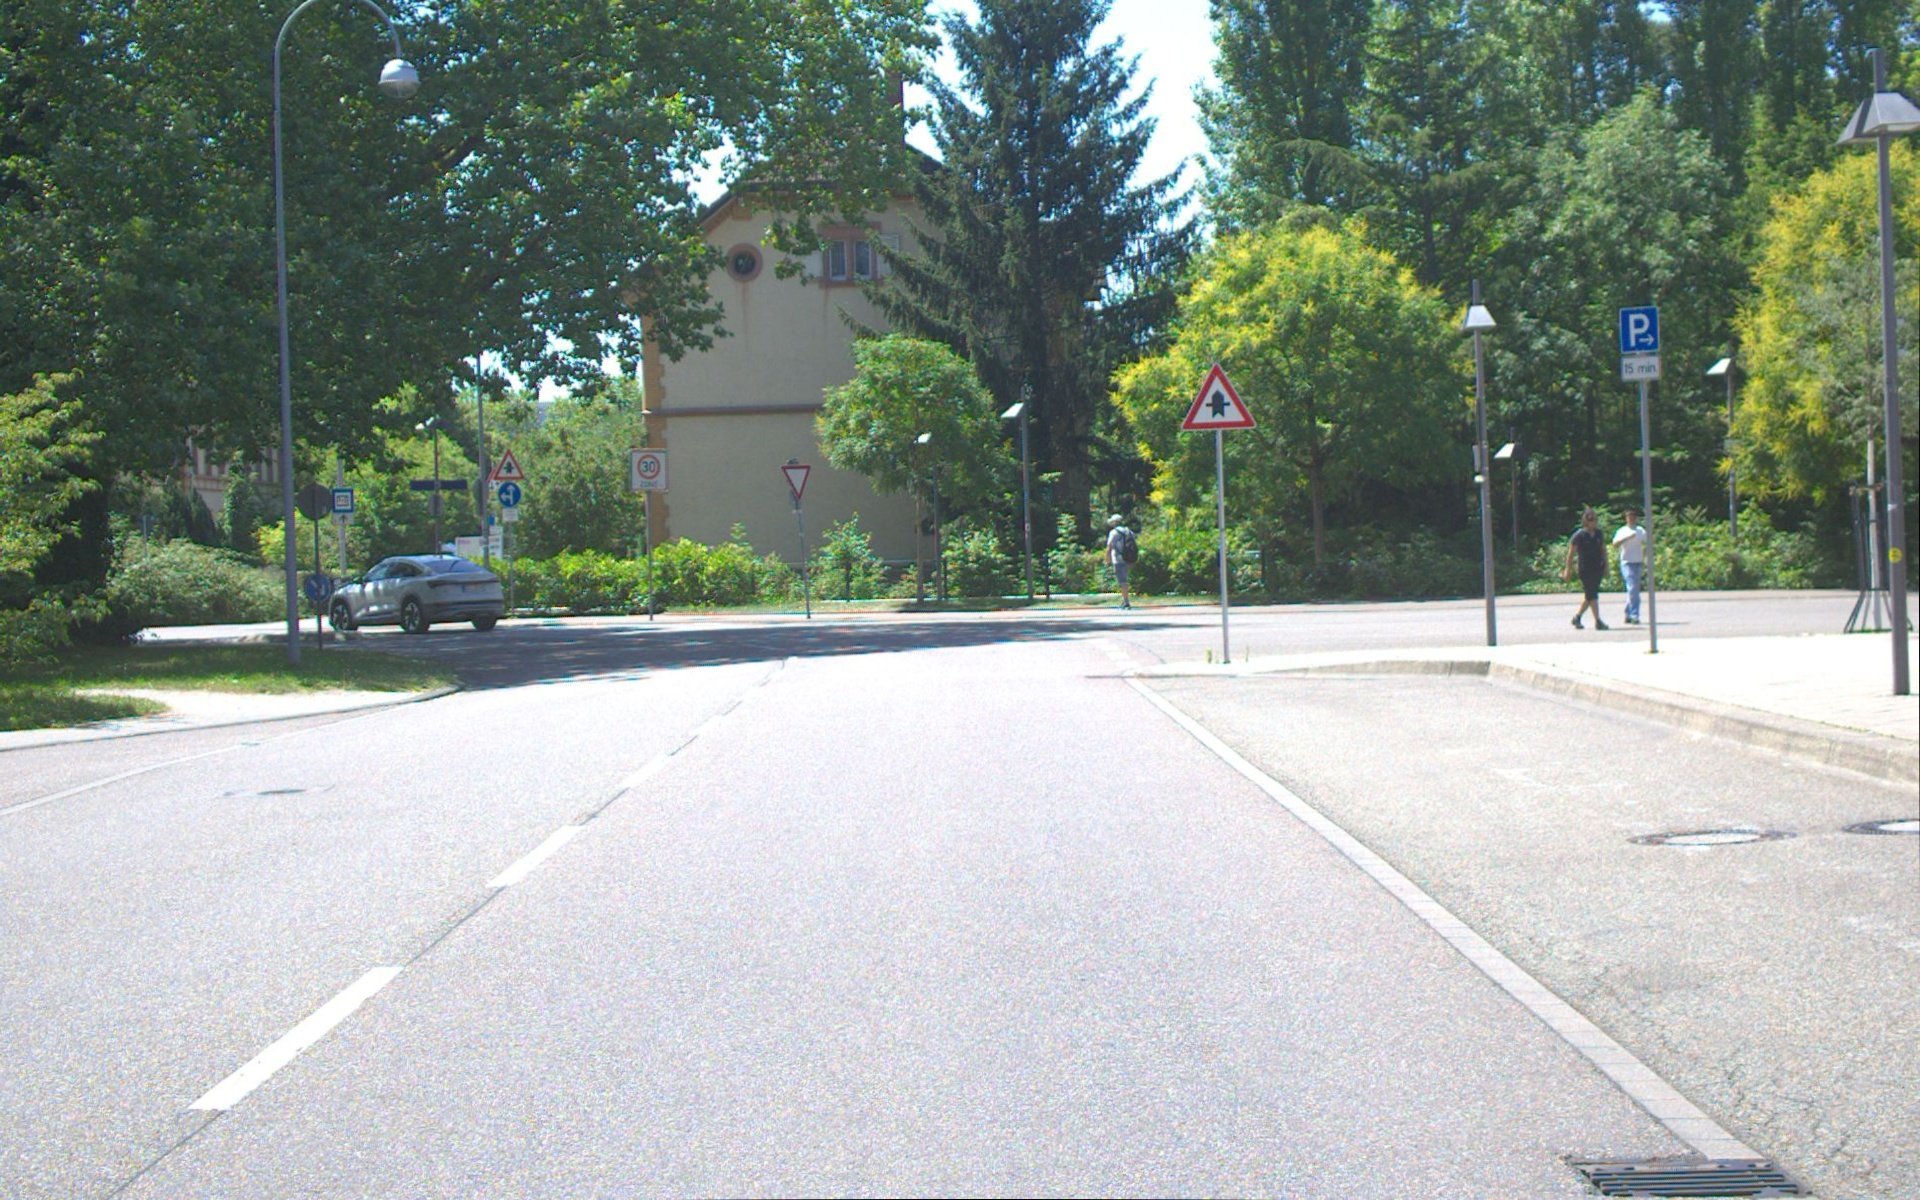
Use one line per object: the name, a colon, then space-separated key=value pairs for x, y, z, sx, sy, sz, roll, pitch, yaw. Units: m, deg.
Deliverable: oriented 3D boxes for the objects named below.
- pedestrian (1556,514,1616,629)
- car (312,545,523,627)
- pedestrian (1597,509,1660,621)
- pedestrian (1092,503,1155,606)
pedestrian: x=9.103 y=-0.402 z=49.996 sx=0.636 sy=1.644 sz=0.749 roll=-1 pitch=-1 yaw=28
car: x=-11.569 y=-0.286 z=73.157 sx=1.984 sy=1.621 sz=4.775 roll=-3 pitch=2 yaw=-44
pedestrian: x=9.968 y=-0.510 z=51.261 sx=0.721 sy=1.644 sz=0.749 roll=-1 pitch=-1 yaw=28
pedestrian: x=3.169 y=-0.879 z=66.484 sx=0.804 sy=1.959 sz=0.856 roll=-2 pitch=1 yaw=-40
